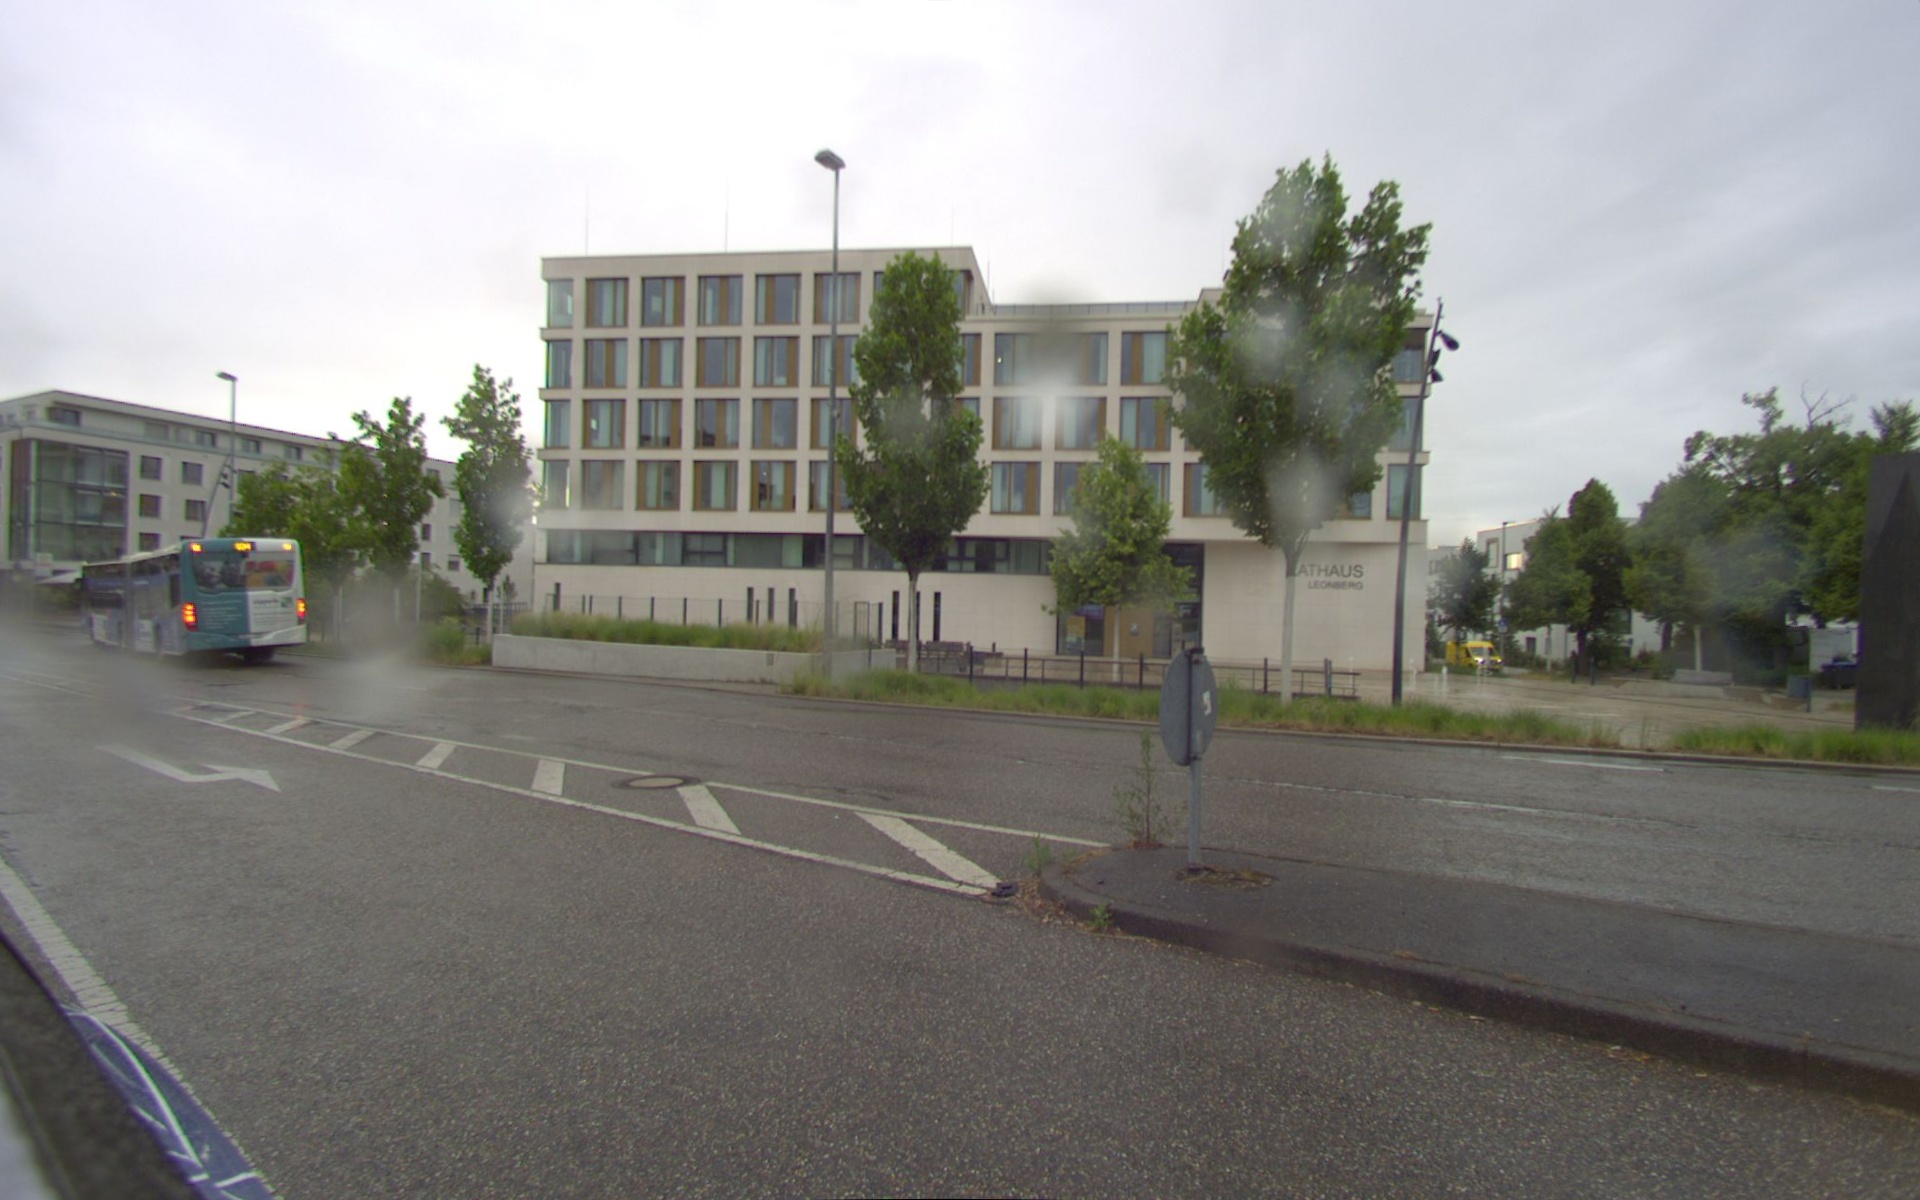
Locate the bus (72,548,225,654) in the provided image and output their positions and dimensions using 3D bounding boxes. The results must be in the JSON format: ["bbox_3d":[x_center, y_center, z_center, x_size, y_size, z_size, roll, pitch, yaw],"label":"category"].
[{"bbox_3d":[-27.572,0.100,34.199,8.884,3.138,2.761,-1,-2,43],"label":"bus"}]

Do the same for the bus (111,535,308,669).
[{"bbox_3d":[-20.965,0.118,27.988,9.369,3.138,2.746,-1,-2,43],"label":"bus"}]

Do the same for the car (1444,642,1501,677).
[{"bbox_3d":[37.569,4.377,74.320,1.977,2.428,5.900,1,-3,9],"label":"car"}]
